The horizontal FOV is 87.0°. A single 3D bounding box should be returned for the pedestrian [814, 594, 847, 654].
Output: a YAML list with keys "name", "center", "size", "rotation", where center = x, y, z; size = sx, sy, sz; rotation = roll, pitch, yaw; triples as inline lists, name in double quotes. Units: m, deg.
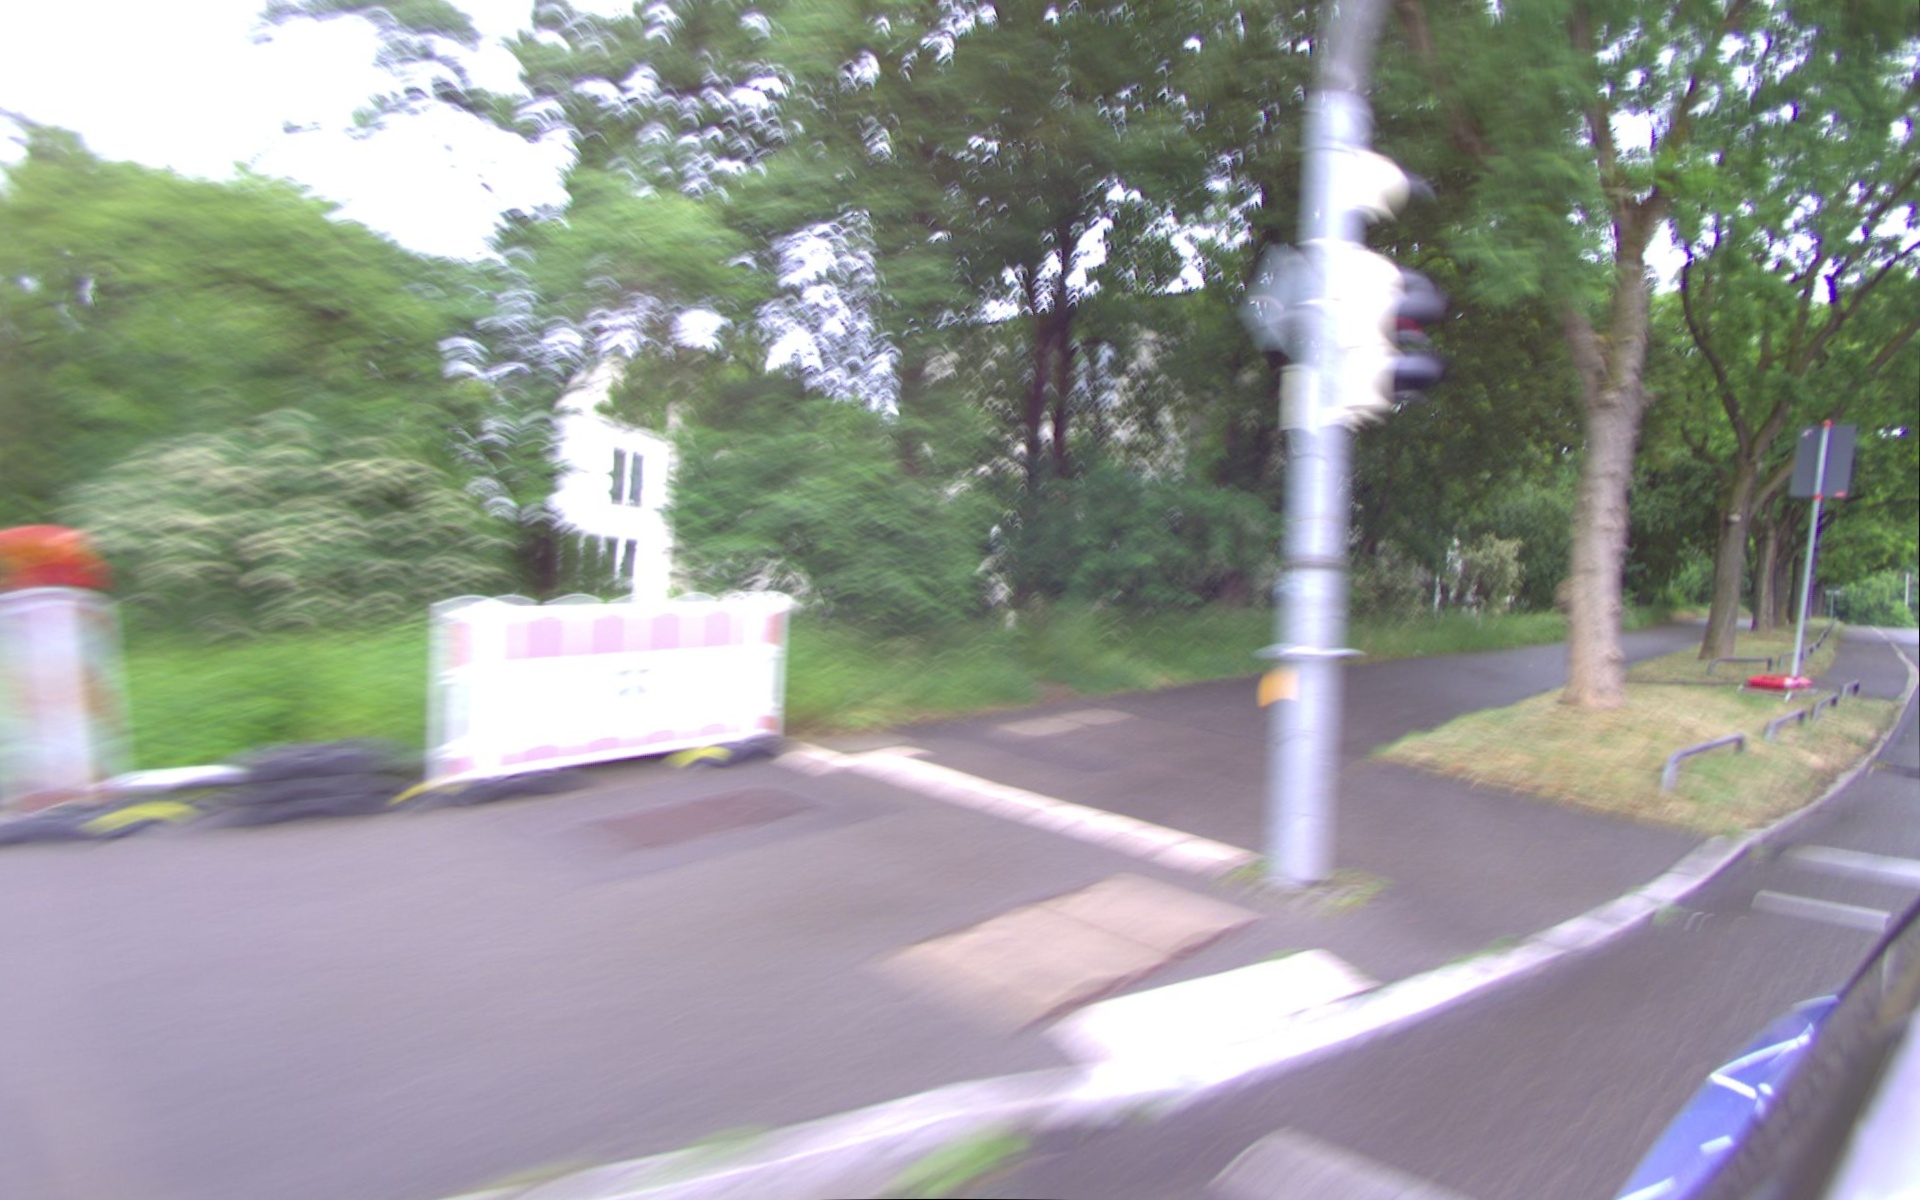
- name: "pedestrian"
  center: [-2.220, 0.400, 17.352]
  size: [0.398, 0.993, 0.373]
  rotation: [0, 2, -44]
